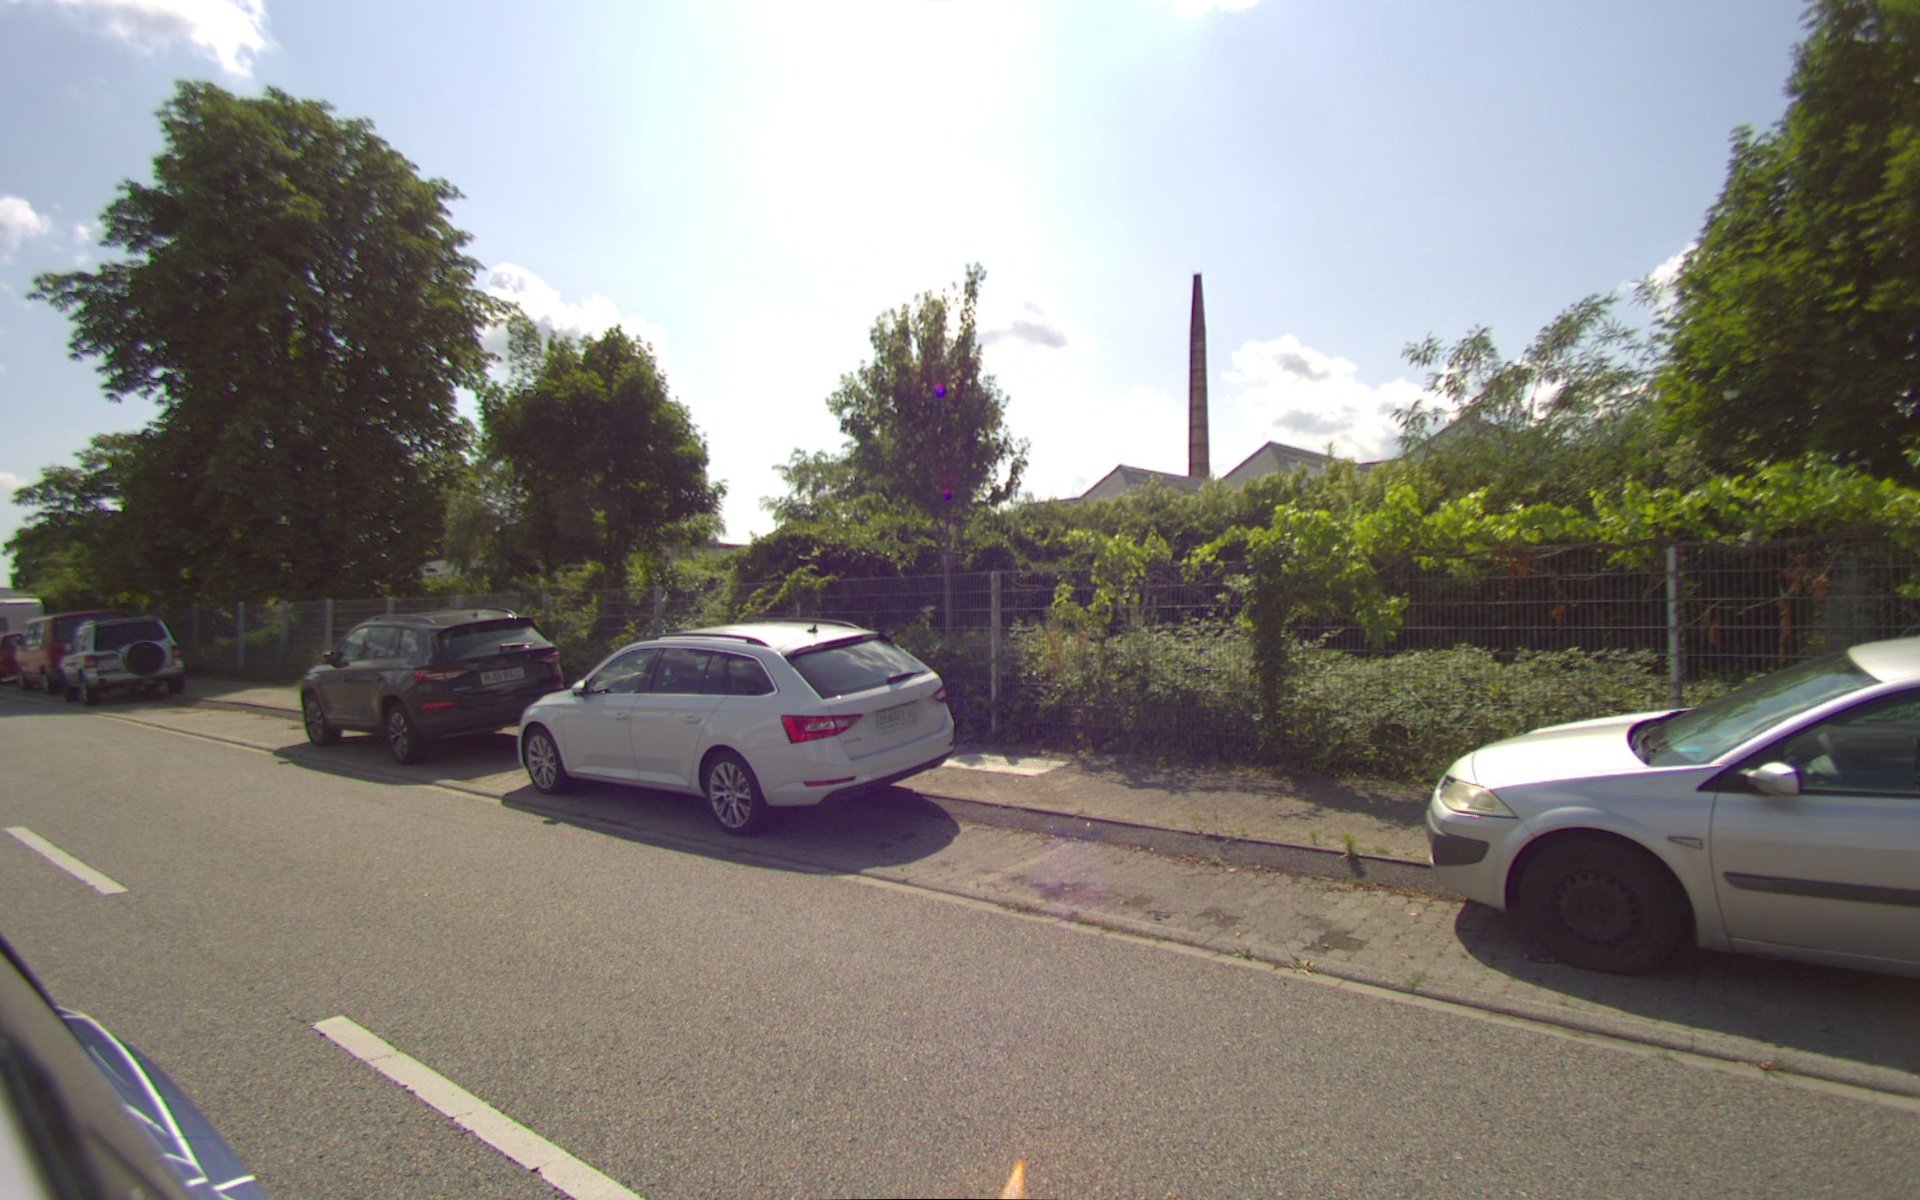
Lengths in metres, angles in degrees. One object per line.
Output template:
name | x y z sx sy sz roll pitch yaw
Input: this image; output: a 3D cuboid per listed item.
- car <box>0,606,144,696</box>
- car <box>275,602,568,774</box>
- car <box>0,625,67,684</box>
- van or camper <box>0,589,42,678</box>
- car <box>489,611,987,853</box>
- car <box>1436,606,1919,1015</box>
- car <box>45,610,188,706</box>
car | -23.173 1.256 26.293 4.951 1.968 1.881 -1 4 38
car | -6.904 0.981 12.728 4.632 1.758 1.594 -2 0 40
car | -28.053 1.578 29.967 4.263 1.543 1.610 -1 3 38
van or camper | -33.680 1.175 34.439 6.821 2.824 2.242 -1 2 37
car | -2.166 0.947 8.916 4.782 1.607 1.683 -2 -2 39
car | 4.671 0.792 4.129 4.653 1.539 1.777 -2 -2 38
car | -18.394 1.199 22.010 3.824 1.815 1.683 -2 2 40
